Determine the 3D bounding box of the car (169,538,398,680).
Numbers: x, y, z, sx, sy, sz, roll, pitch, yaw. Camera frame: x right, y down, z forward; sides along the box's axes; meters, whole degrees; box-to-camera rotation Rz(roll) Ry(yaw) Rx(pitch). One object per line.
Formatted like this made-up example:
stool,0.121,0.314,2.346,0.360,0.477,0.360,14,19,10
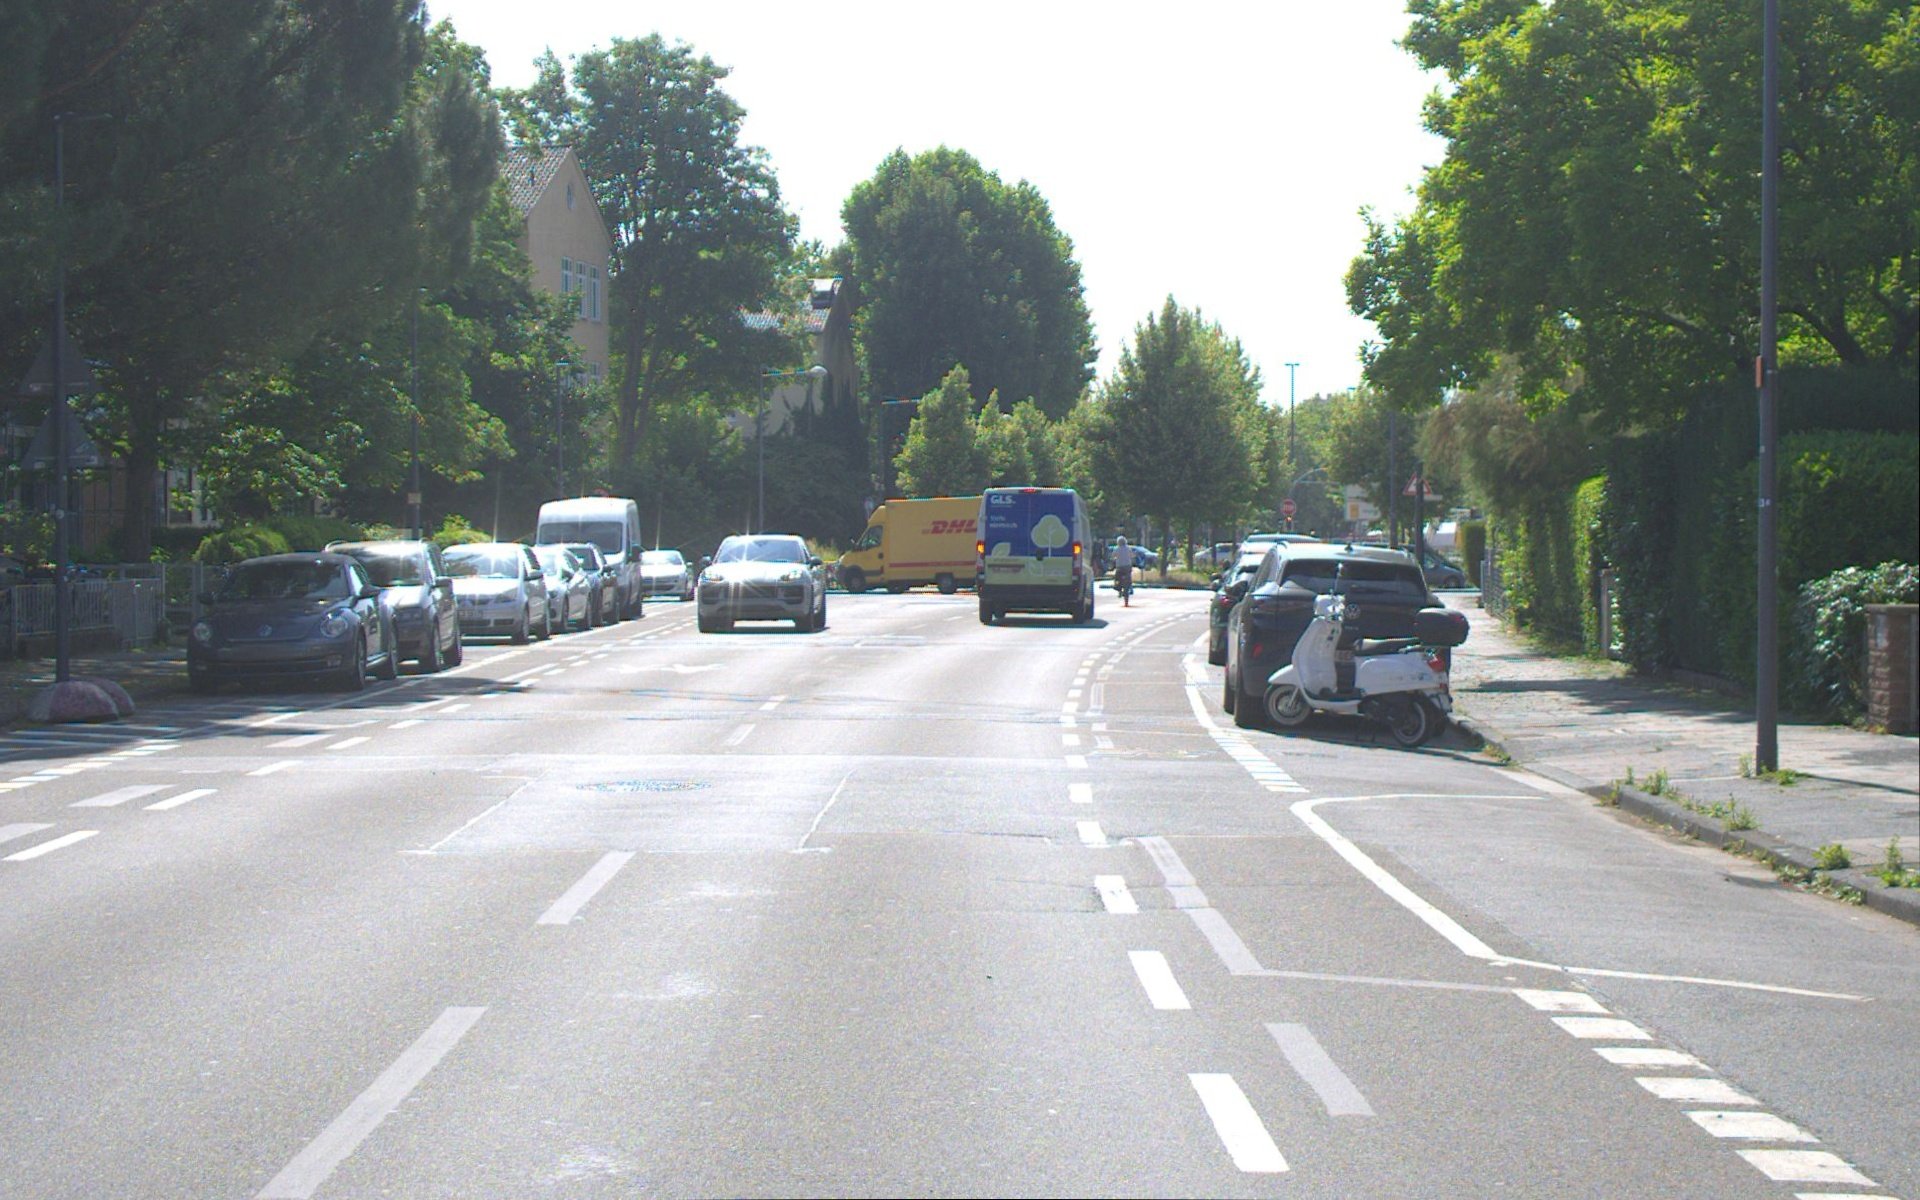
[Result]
car,-7.316,0.065,37.534,1.780,1.455,4.086,0,1,-2

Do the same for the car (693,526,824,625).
car,-3.527,-0.442,60.967,1.993,1.652,4.605,1,1,0

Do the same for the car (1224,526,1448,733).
car,3.430,0.239,31.159,1.785,1.632,4.469,3,1,7

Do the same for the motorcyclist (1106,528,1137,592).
motorcyclist,3.917,-0.966,83.433,0.672,1.513,0.652,1,0,0

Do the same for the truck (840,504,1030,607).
truck,-0.765,-1.325,101.241,2.215,2.936,5.683,1,0,-44

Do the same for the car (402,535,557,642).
car,-7.559,-0.179,54.346,1.835,1.590,3.775,1,0,1

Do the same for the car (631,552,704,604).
car,-7.896,-0.604,93.129,1.754,1.339,3.654,1,1,-2

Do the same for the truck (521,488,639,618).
truck,-7.777,-0.963,70.864,2.080,2.528,5.468,1,1,-3

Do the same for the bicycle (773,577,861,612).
bicycle,-4.538,-0.167,109.229,2.687,1.044,1.026,1,0,-8

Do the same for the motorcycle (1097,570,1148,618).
motorcycle,3.932,-0.145,83.438,1.056,1.119,2.992,1,0,0

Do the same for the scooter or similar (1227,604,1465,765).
scooter or similar,3.164,0.689,28.294,1.796,1.150,0.718,5,0,44

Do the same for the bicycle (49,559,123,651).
bicycle,-11.161,0.062,43.939,0.373,1.142,1.977,1,0,1

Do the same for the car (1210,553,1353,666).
car,4.264,0.108,46.064,1.785,1.395,4.323,2,0,4

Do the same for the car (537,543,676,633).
car,-6.178,-0.226,60.420,1.835,1.491,3.653,1,1,3

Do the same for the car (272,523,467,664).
car,-7.371,-0.116,43.287,1.908,1.671,4.259,0,1,-3

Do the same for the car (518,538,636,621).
car,-7.215,-0.388,65.093,1.754,1.491,3.654,1,1,1

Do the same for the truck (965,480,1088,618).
truck,1.323,-0.966,67.174,2.272,2.563,4.392,1,0,2

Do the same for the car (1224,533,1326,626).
car,5.972,-0.387,65.424,1.700,1.671,3.774,1,0,2

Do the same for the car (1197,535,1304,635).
car,5.124,-0.270,60.320,1.701,1.671,3.774,1,1,7
